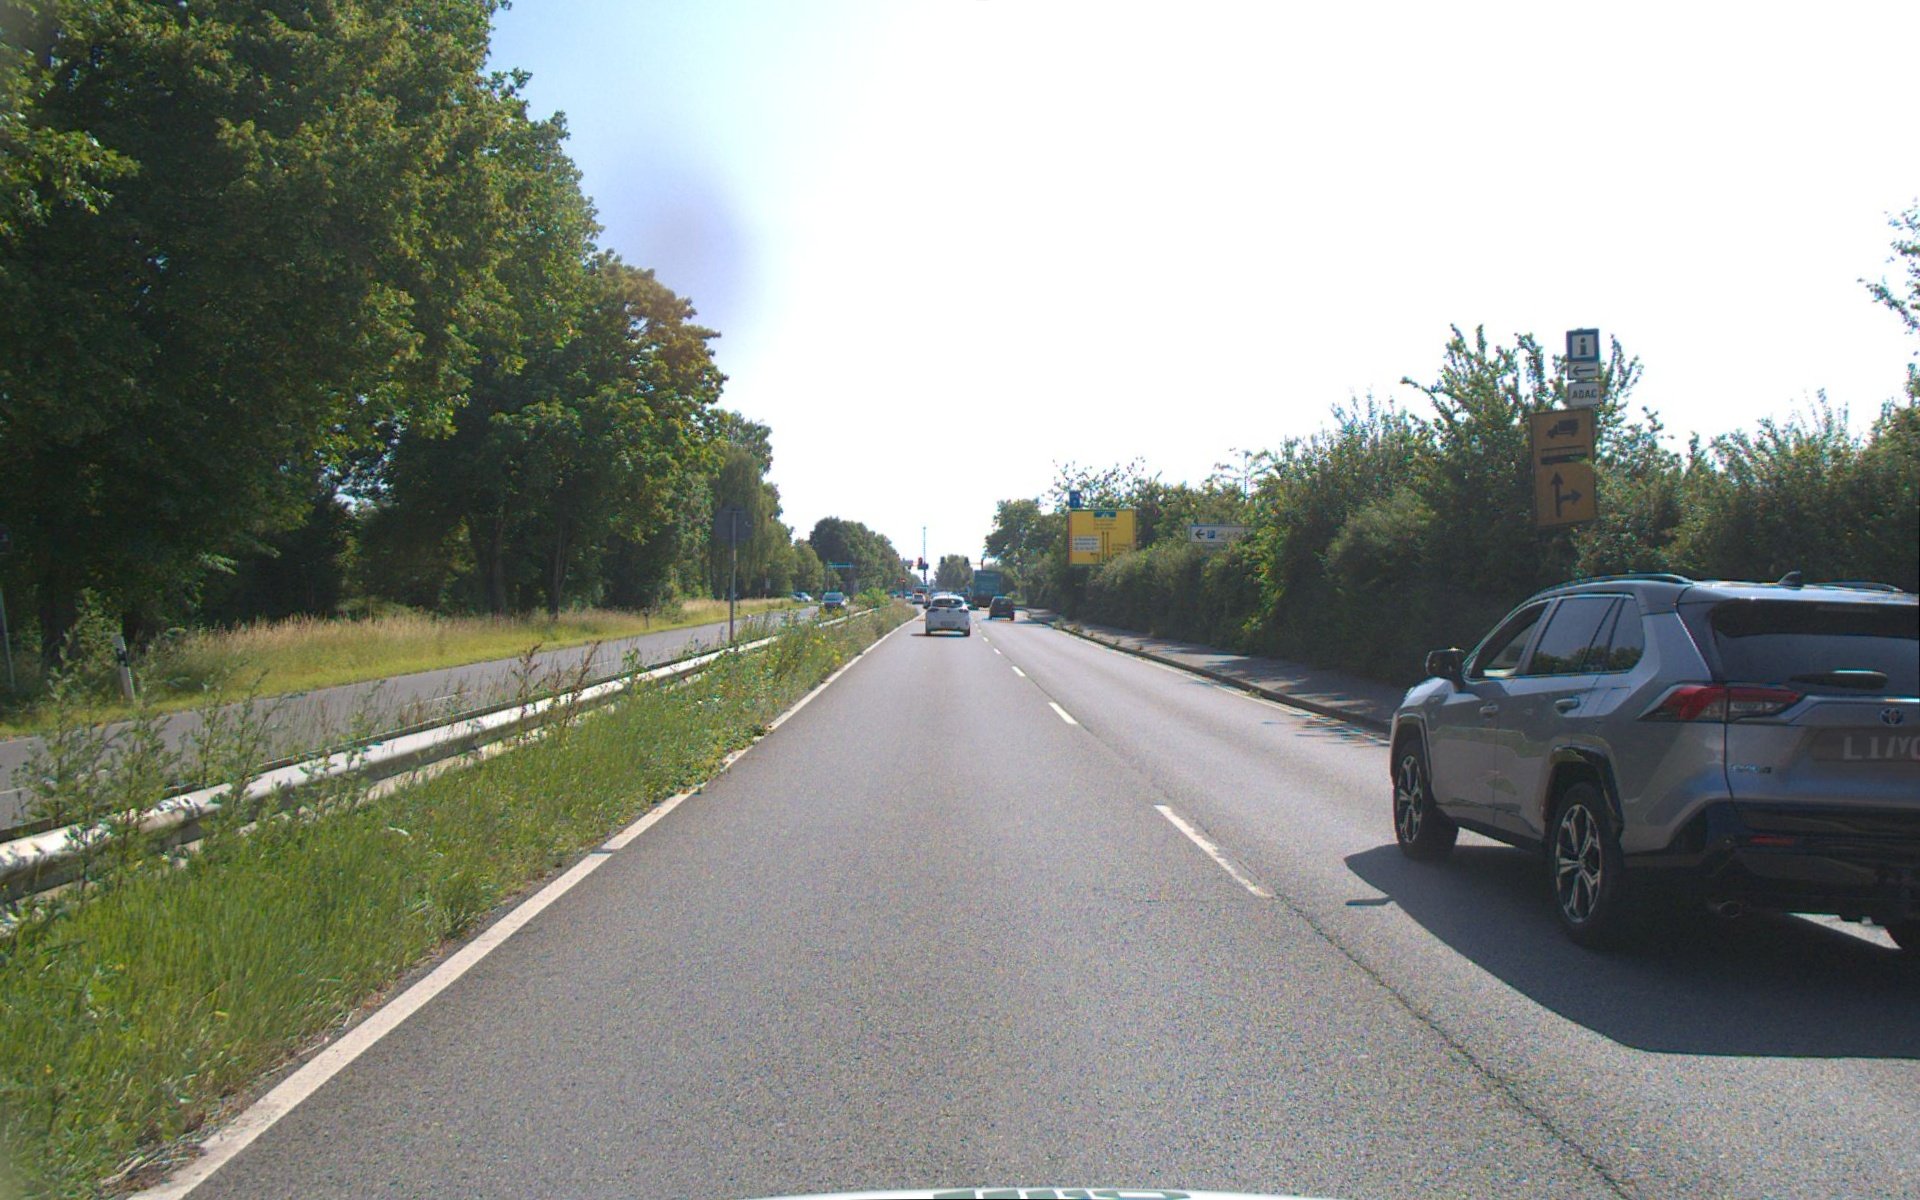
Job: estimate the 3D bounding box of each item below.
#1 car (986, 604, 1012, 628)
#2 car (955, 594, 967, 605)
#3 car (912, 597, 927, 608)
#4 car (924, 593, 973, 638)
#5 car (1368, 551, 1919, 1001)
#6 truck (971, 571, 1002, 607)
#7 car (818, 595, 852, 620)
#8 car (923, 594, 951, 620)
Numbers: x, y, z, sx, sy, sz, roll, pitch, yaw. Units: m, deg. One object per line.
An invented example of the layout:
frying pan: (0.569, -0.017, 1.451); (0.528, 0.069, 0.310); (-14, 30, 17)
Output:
car: (2.421, 1.009, 103.422); (1.540, 1.439, 3.277); (1, -1, -1)
car: (0.187, -0.063, 250.546); (1.775, 1.490, 4.460); (0, 0, 1)
car: (-5.476, 0.379, 225.221); (1.775, 1.490, 4.971); (0, 0, 1)
car: (-0.411, 0.541, 62.223); (1.762, 1.580, 4.000); (1, 0, 0)
car: (3.718, 0.691, 8.738); (1.863, 1.709, 4.682); (2, 0, -1)
truck: (2.536, -1.110, 163.744); (2.833, 3.488, 9.167); (0, 0, -1)
car: (-8.140, 0.475, 107.884); (1.742, 1.557, 4.162); (-1, 0, 2)
car: (-1.332, 0.382, 95.256); (1.540, 1.439, 3.277); (1, 0, -1)
